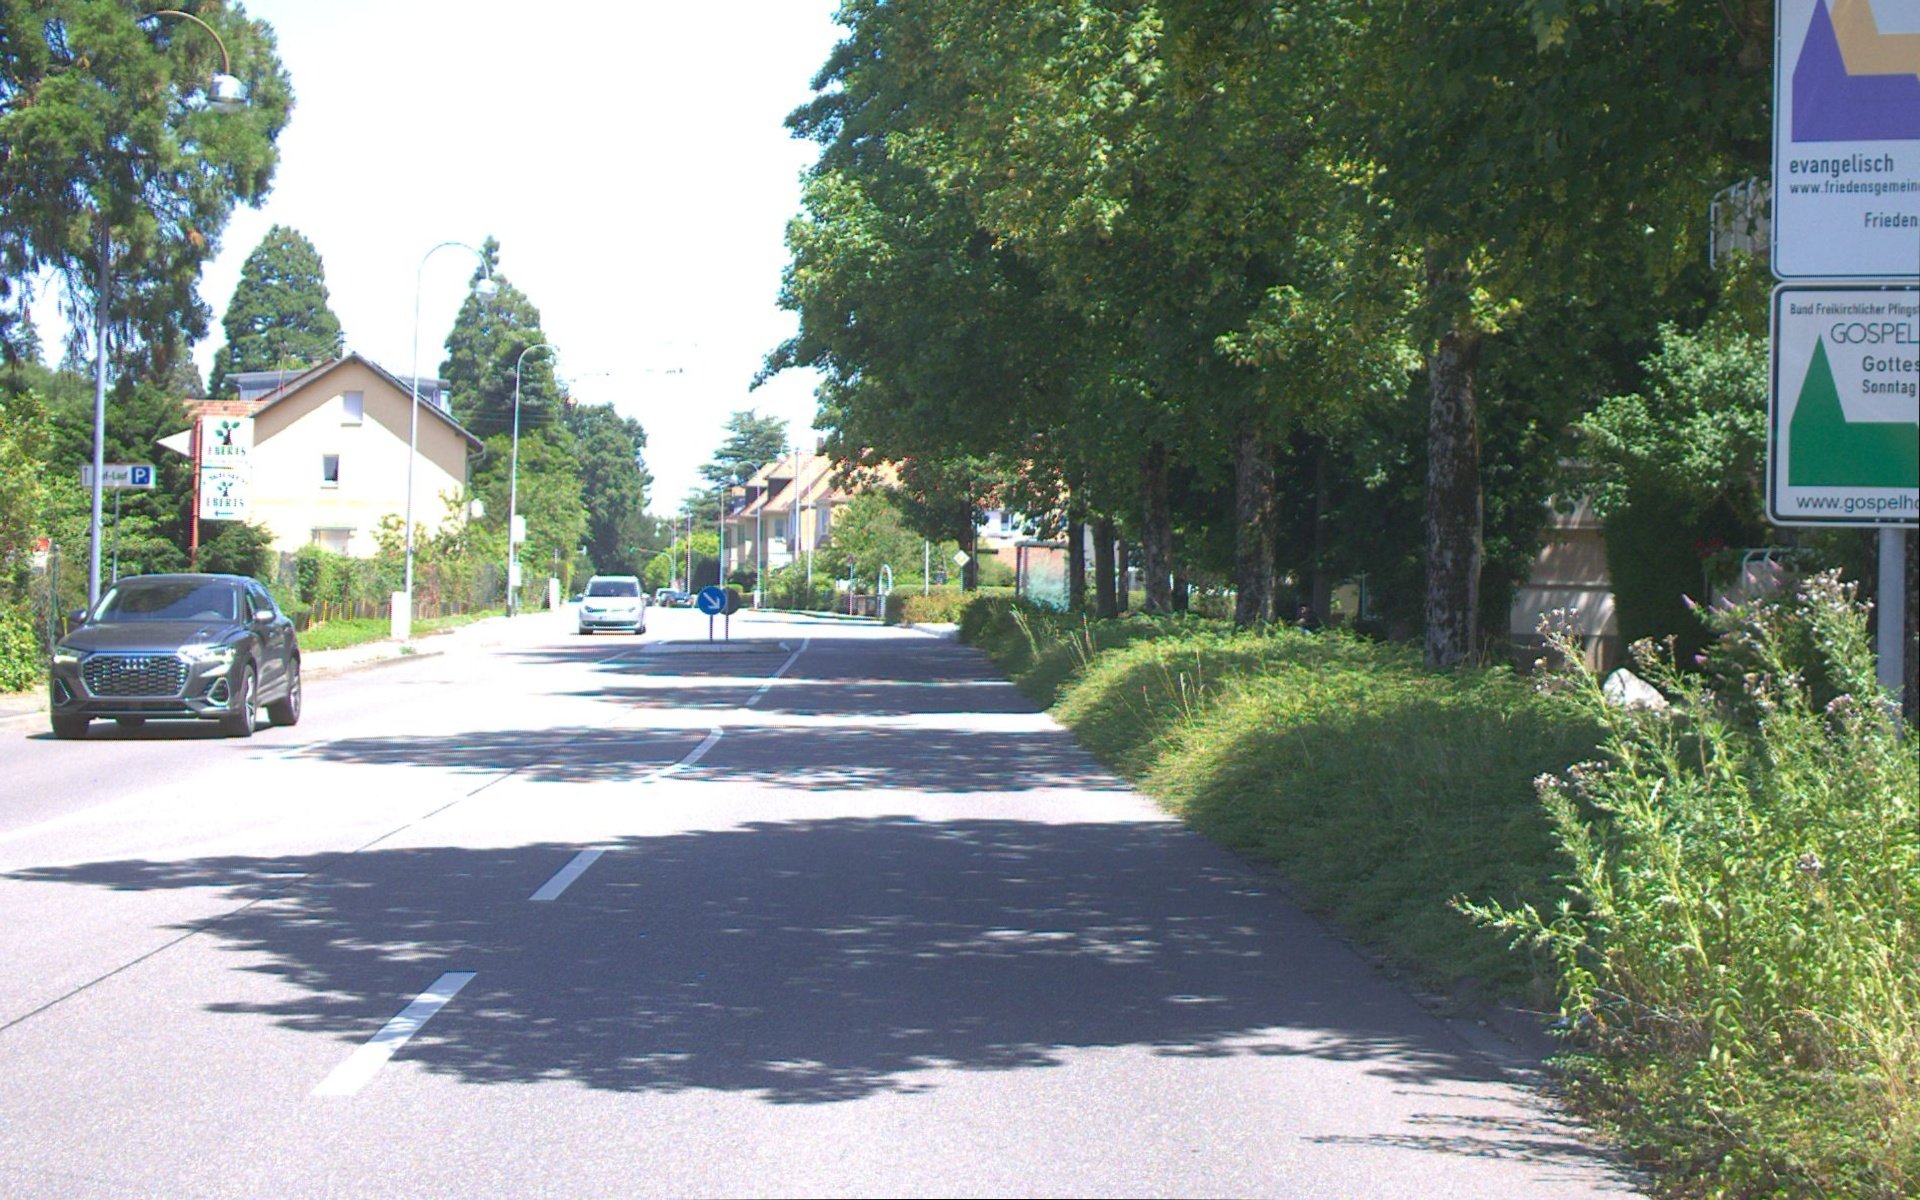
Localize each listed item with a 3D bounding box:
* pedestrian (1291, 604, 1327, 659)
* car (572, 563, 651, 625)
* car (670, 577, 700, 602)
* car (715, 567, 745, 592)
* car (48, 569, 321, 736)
[{"bbox_3d":[7.513,0.680,74.069,0.704,1.156,0.754,1,0,3],"label":"pedestrian"},{"bbox_3d":[-9.785,-0.187,96.828,1.912,1.683,4.125,0,0,-2],"label":"car"},{"bbox_3d":[-19.440,-0.764,243.353,1.815,1.712,4.000,1,0,0],"label":"car"},{"bbox_3d":[-16.252,-1.423,243.274,1.815,1.712,4.000,1,0,0],"label":"car"},{"bbox_3d":[-7.590,0.470,34.016,1.793,1.531,4.315,0,0,-1],"label":"car"}]
